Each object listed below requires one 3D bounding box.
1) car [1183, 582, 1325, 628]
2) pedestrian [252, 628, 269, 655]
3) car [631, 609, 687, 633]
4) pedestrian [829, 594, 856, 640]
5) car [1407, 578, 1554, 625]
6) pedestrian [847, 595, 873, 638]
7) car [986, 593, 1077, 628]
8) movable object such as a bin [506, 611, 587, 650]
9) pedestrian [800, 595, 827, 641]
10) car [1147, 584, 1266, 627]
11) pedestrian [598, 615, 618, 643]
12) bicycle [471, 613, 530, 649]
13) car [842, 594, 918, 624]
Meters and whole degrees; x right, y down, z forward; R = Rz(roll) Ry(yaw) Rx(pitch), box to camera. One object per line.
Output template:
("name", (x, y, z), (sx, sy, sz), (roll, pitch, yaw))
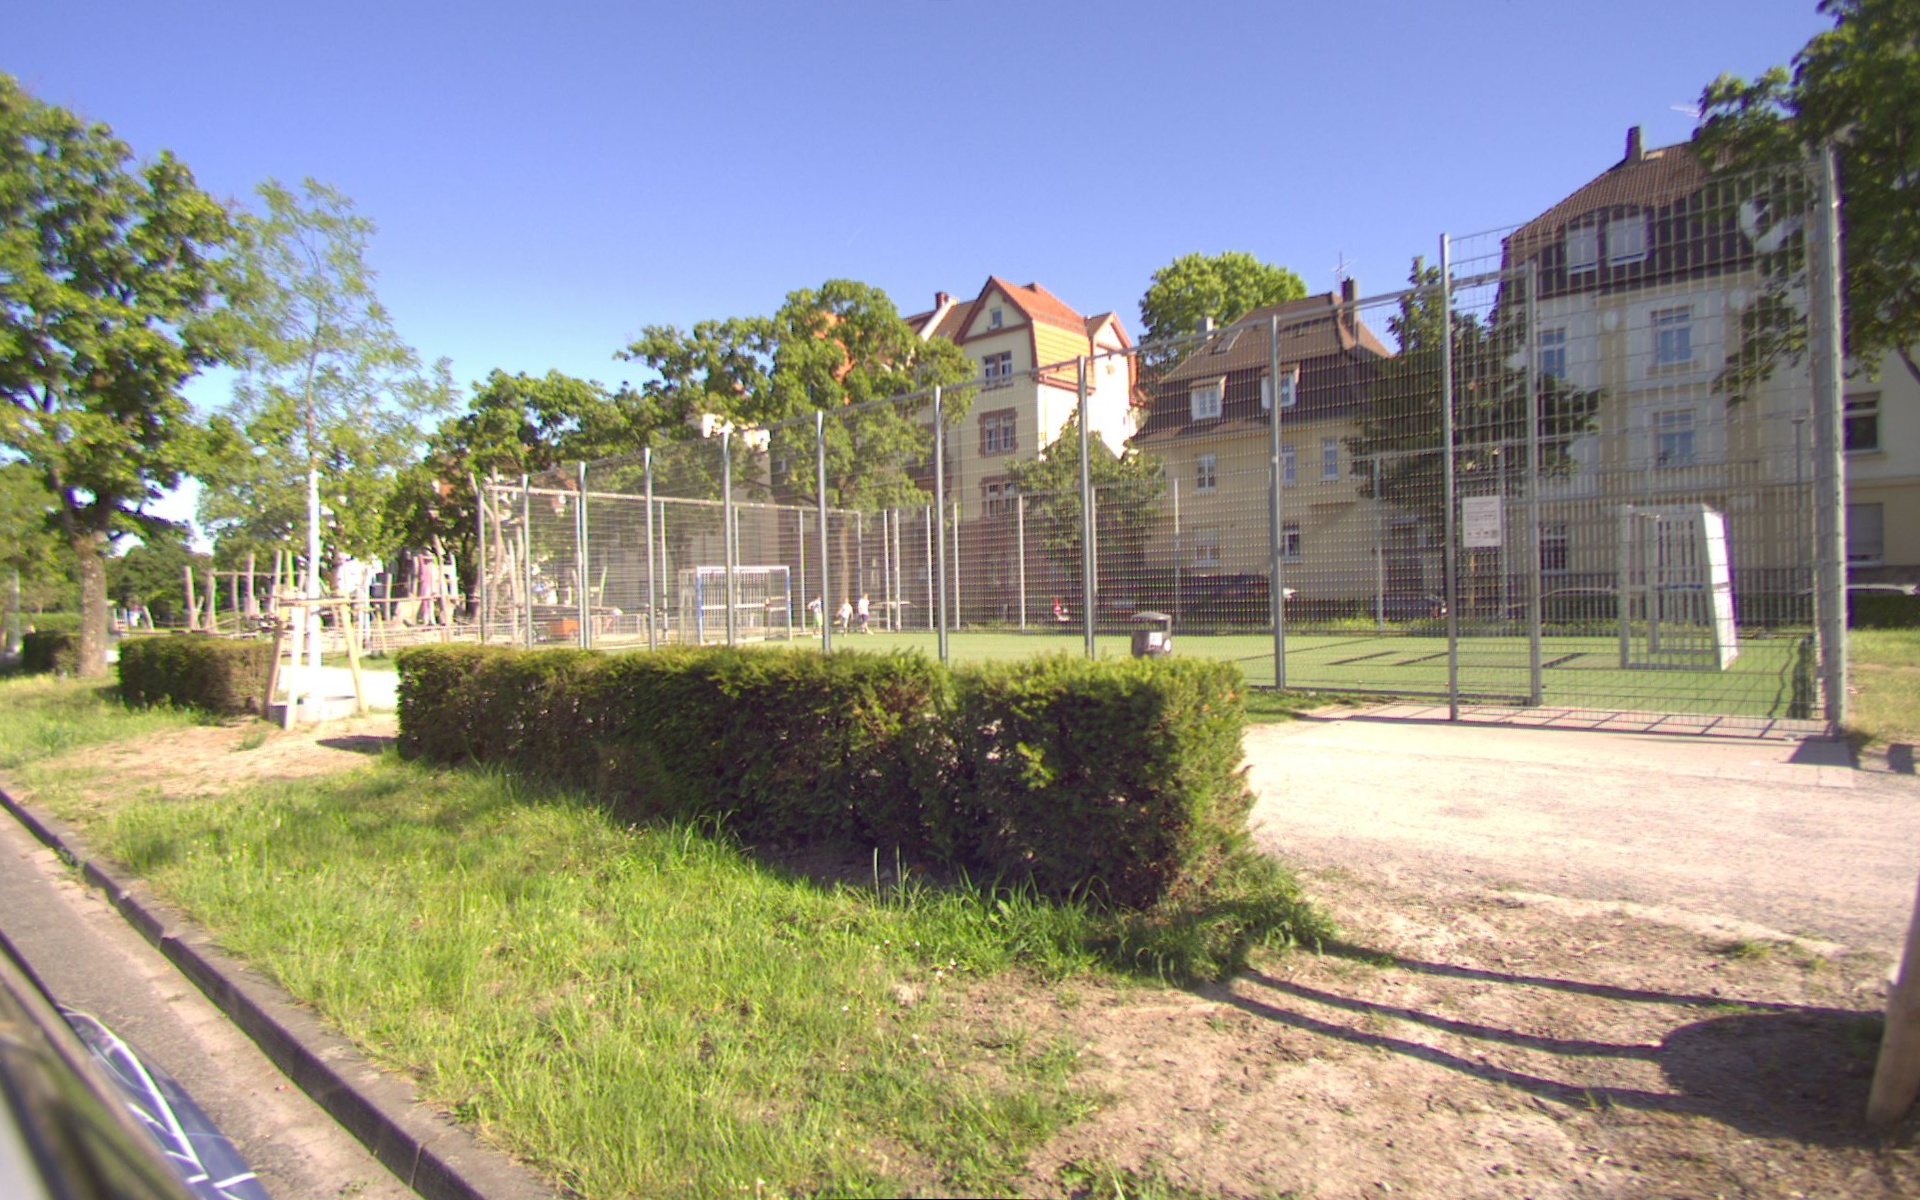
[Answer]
("car", (11.742, 0.224, 40.694), (5.180, 1.664, 1.862), (-2, 0, 41))
("pedestrian", (-35.323, 2.097, 51.134), (0.639, 1.339, 0.652), (-2, 0, -31))
("car", (-20.437, 1.435, 68.624), (3.998, 1.521, 1.776), (-2, 0, 41))
("pedestrian", (-3.517, 0.499, 30.347), (0.639, 1.328, 0.652), (-2, 0, -20))
("car", (18.017, 0.069, 35.147), (4.229, 1.521, 1.776), (-2, 0, 41))
("pedestrian", (-3.152, 0.511, 31.790), (0.639, 1.328, 0.652), (-2, 0, -20))
("car", (3.358, 0.493, 47.801), (3.998, 1.521, 1.776), (-2, 0, 41))
("movable object such as a bin", (-13.857, 1.013, 33.984), (1.054, 1.251, 2.309), (-2, -1, 36))
("pedestrian", (-4.354, 0.526, 29.992), (0.639, 1.328, 0.652), (-2, 0, -20))
("car", (9.239, 0.217, 38.085), (3.998, 1.521, 1.776), (-2, 0, 41))
("pedestrian", (-17.019, 1.418, 48.987), (0.649, 1.328, 0.642), (-2, 0, 38))
("bicycle", (-15.555, 1.042, 34.283), (0.499, 1.116, 1.777), (-2, 0, 39))
("car", (-4.367, 0.521, 55.006), (3.998, 1.521, 1.776), (-2, 0, 41))
